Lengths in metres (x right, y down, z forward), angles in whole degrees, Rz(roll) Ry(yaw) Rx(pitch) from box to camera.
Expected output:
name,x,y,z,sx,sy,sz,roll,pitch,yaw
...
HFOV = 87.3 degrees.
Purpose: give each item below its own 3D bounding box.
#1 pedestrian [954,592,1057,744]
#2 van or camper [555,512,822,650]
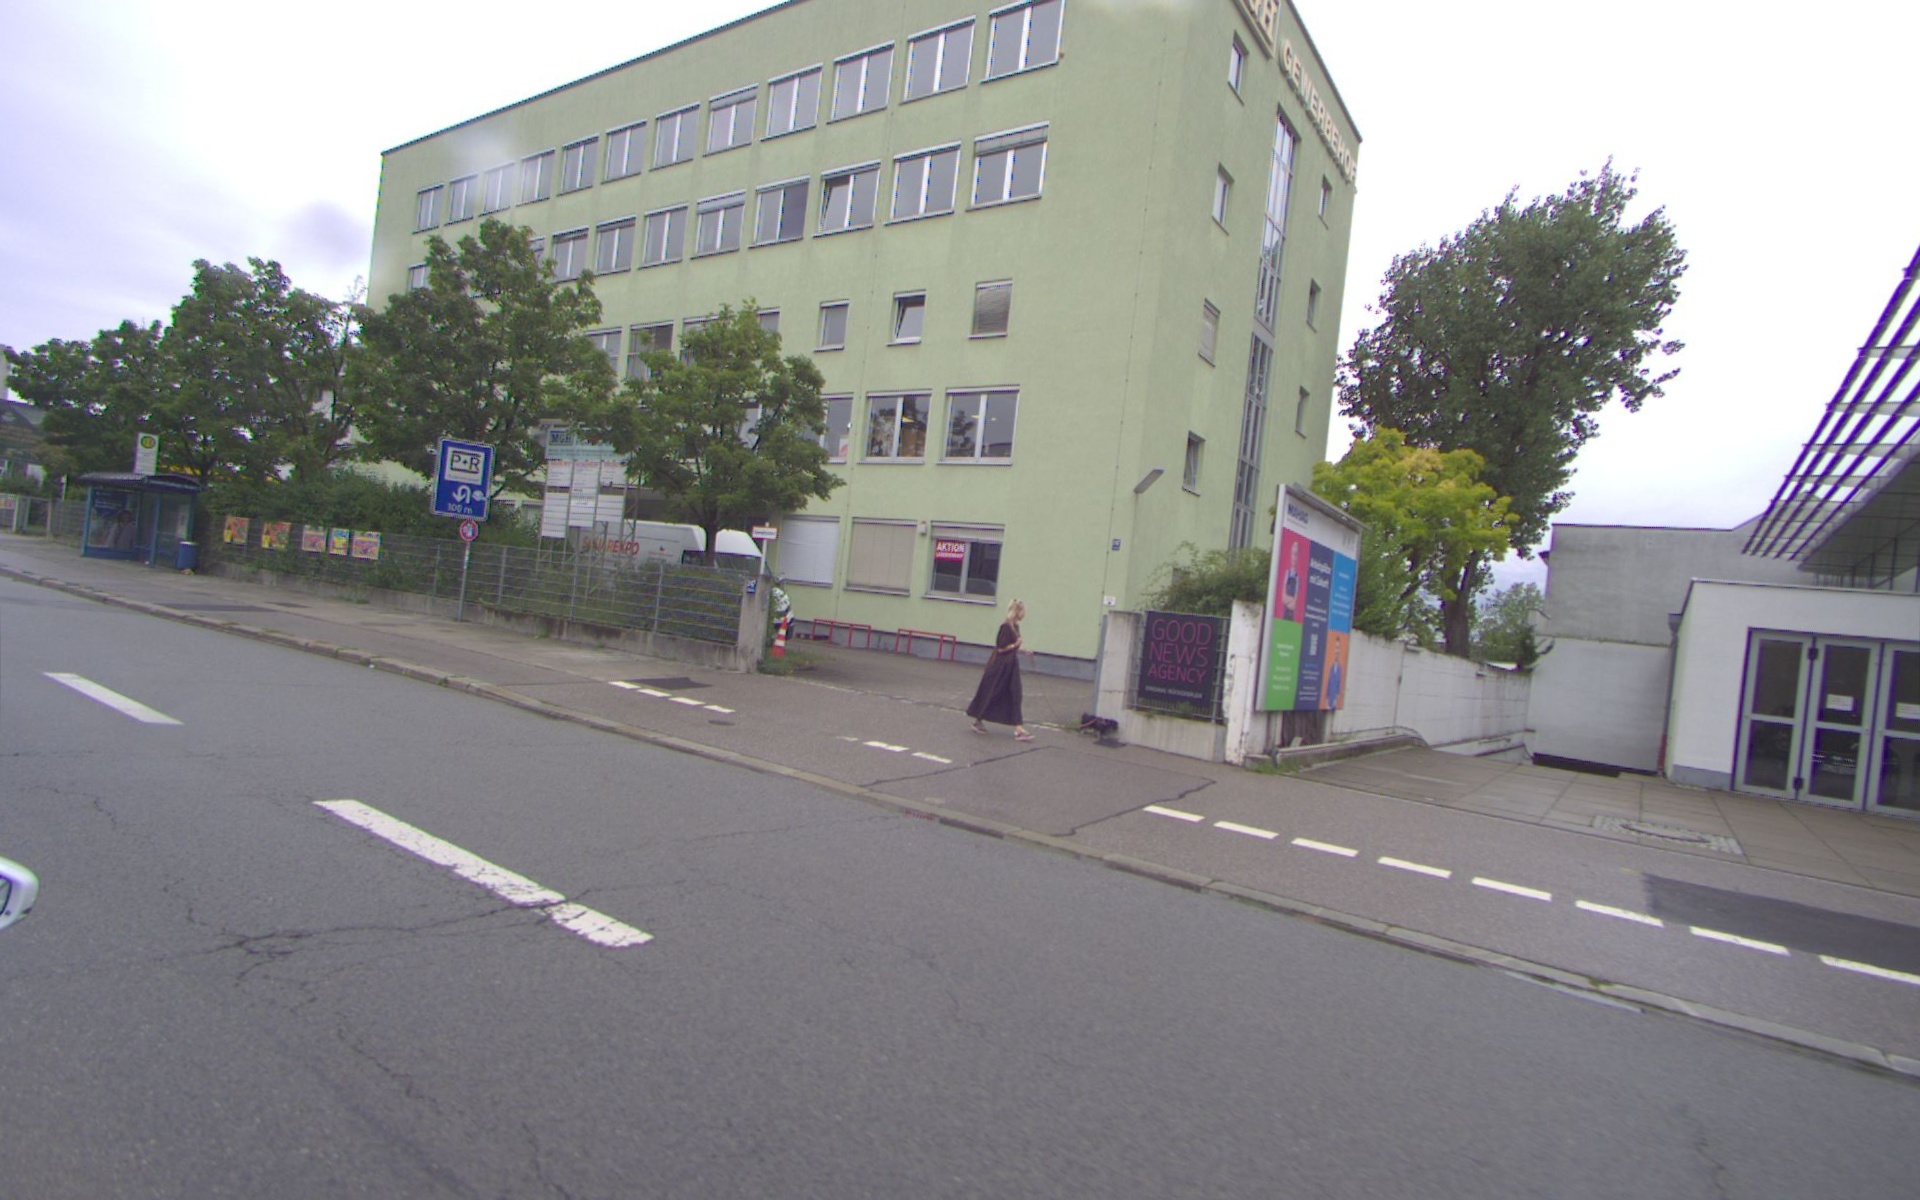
name,x,y,z,sx,sy,sz,roll,pitch,yaw
pedestrian,0.568,0.820,12.552,0.882,1.752,0.756,7,4,38
van or camper,-6.545,-0.549,23.485,7.285,2.527,2.122,6,-1,41
